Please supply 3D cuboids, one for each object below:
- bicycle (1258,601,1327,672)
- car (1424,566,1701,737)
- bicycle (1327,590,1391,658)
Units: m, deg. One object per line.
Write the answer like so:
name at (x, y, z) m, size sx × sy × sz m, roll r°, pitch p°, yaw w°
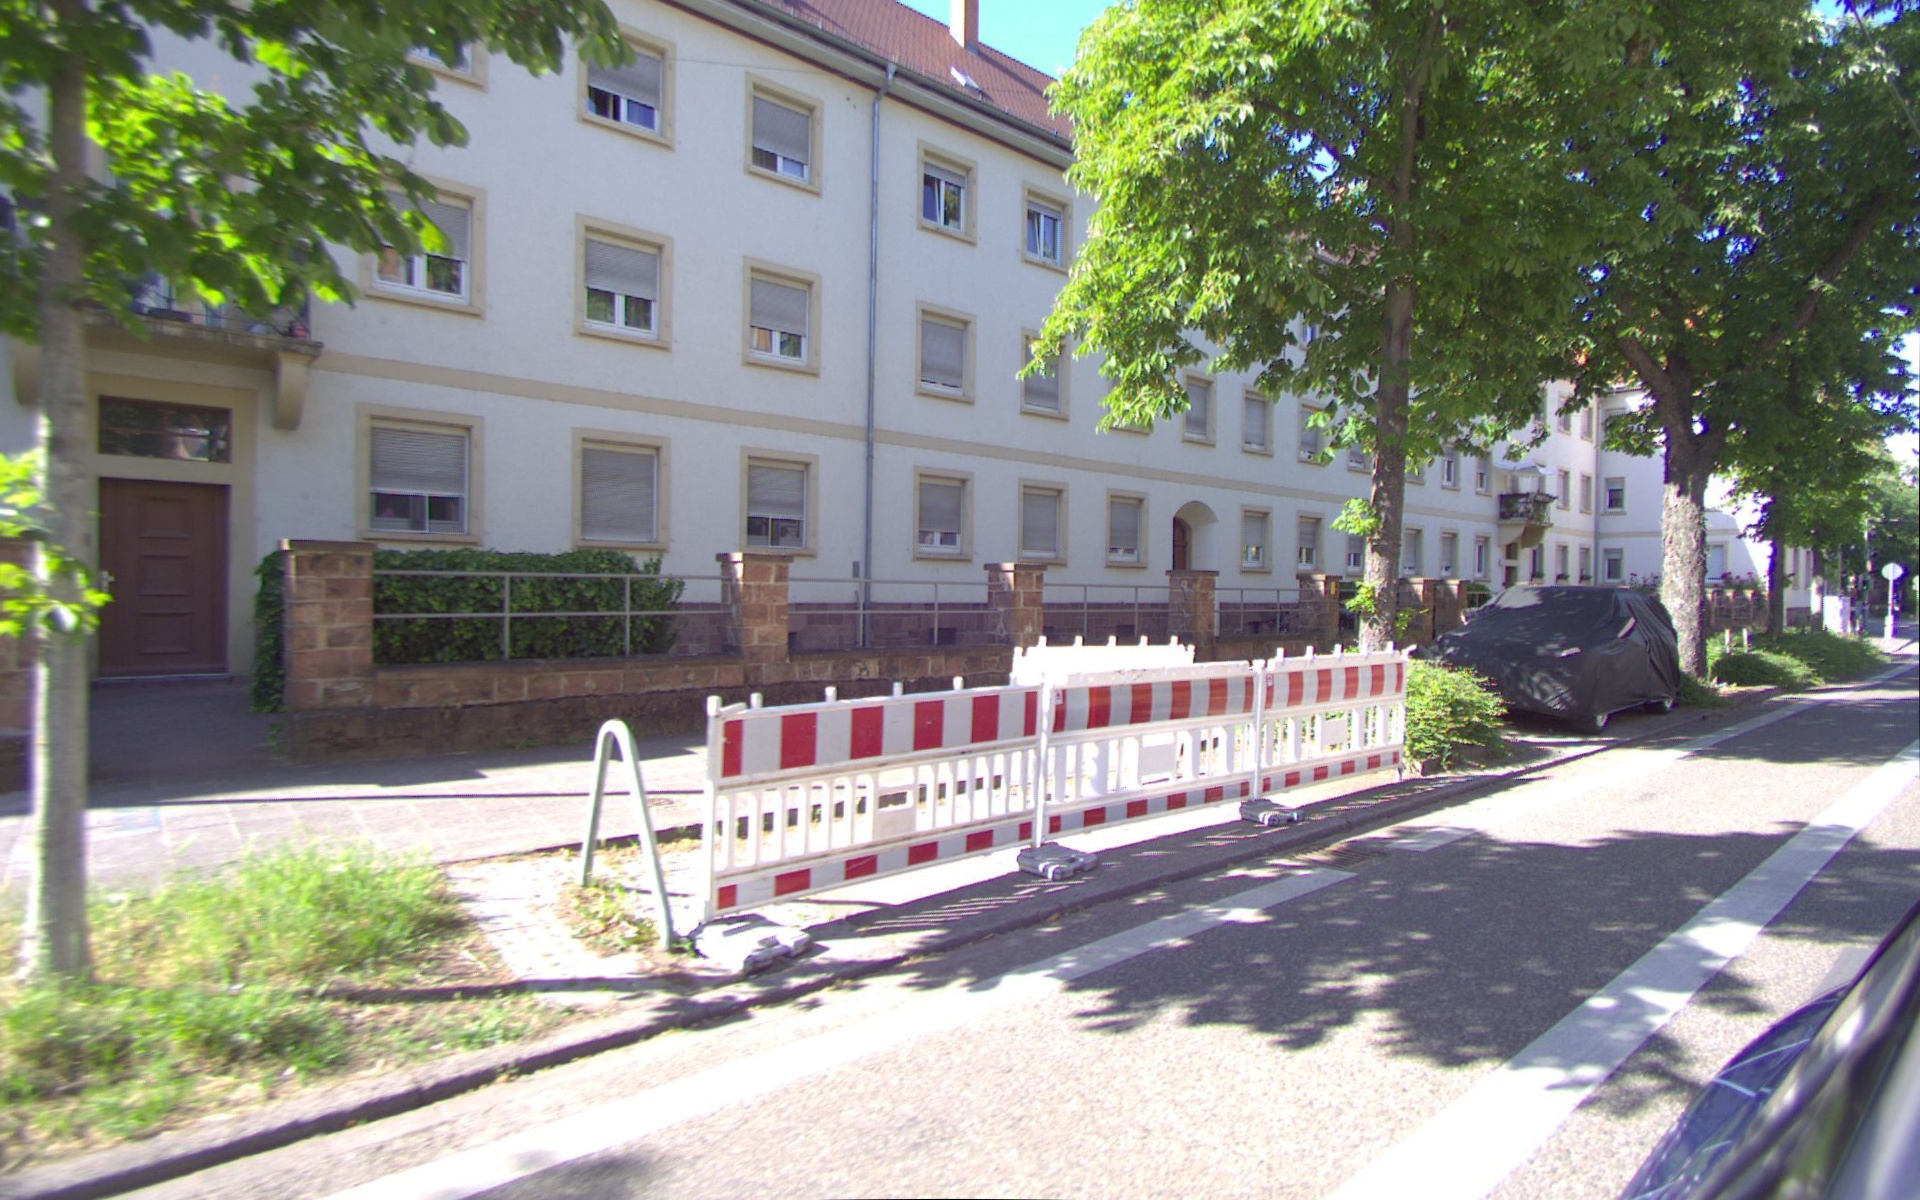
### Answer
bicycle at (6.212, 0.655, 18.850) m, size 1.647 × 1.253 × 0.448 m, roll 0°, pitch 1°, yaw -43°
car at (7.685, 0.544, 12.729) m, size 4.400 × 1.788 × 1.746 m, roll 0°, pitch -1°, yaw -42°
bicycle at (7.658, 0.439, 19.399) m, size 1.647 × 1.253 × 0.448 m, roll 0°, pitch 1°, yaw -43°
